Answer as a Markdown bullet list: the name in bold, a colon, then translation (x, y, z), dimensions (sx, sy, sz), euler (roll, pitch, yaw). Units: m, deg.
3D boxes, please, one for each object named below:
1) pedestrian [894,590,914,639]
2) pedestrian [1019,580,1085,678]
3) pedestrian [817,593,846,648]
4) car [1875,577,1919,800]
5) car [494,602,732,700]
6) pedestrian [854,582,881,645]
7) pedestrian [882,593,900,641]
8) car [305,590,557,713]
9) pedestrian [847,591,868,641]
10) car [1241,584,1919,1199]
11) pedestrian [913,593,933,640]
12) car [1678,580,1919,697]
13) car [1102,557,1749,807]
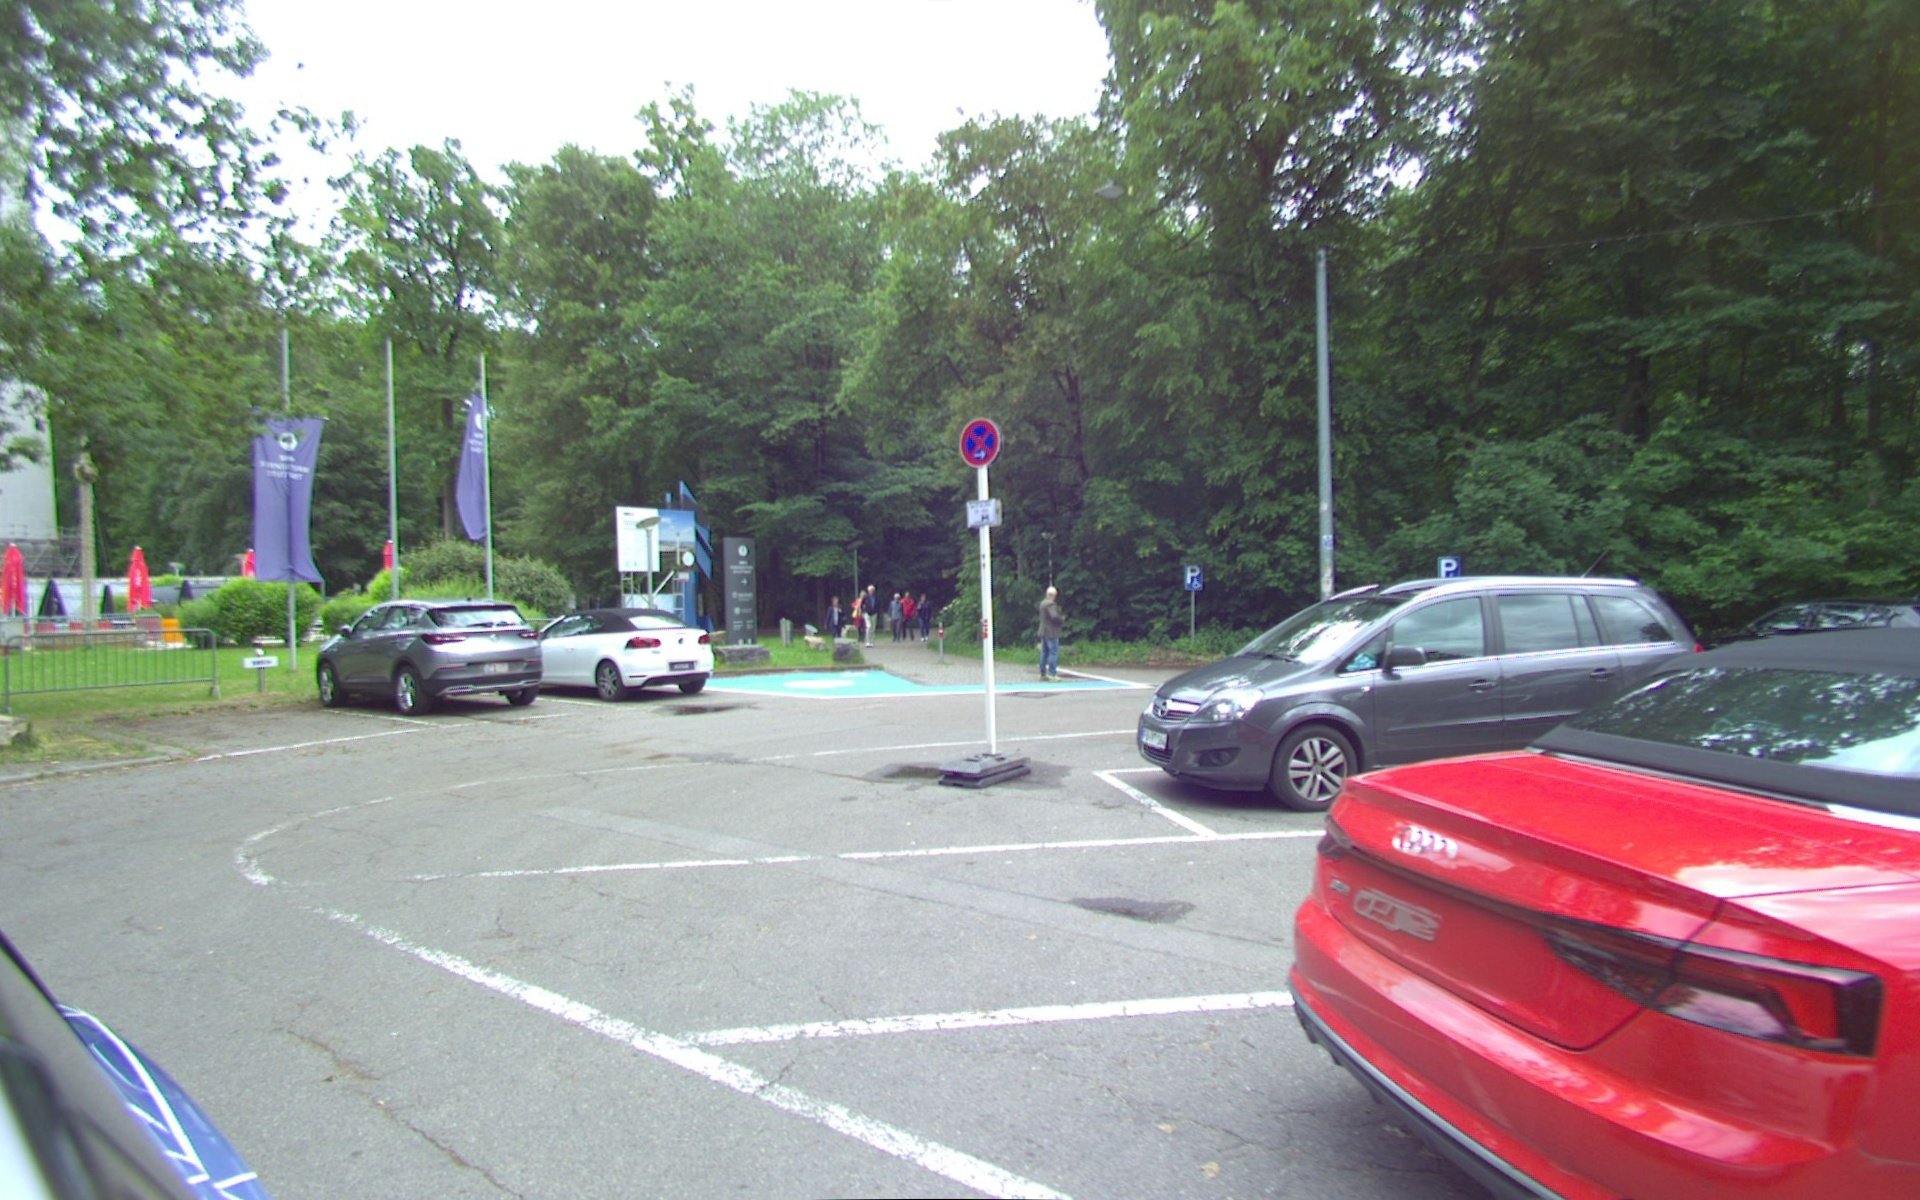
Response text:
- **pedestrian**: translation (-2.083, 0.534, 37.512), dimensions (0.671, 1.781, 0.714), euler (-1, 0, -4)
- **pedestrian**: translation (1.673, 0.511, 18.427), dimensions (0.881, 1.738, 0.767), euler (-1, -1, -29)
- **pedestrian**: translation (-3.893, 0.625, 30.753), dimensions (0.768, 1.646, 0.637), euler (-1, 0, 2)
- **car**: translation (8.443, 0.539, 6.352), dimensions (4.209, 1.454, 1.764), euler (-1, 0, -10)
- **car**: translation (-5.842, 0.778, 16.855), dimensions (3.994, 1.439, 1.875), euler (-1, 0, 38)
- **pedestrian**: translation (-2.880, 0.422, 31.497), dimensions (0.724, 1.930, 0.668), euler (-1, 0, 2)
- **pedestrian**: translation (-2.440, 0.592, 35.932), dimensions (0.600, 1.686, 0.606), euler (-1, 0, -4)
- **car**: translation (-7.999, 0.693, 15.193), dimensions (3.994, 1.597, 1.875), euler (-1, 0, 38)
- **pedestrian**: translation (-3.662, 0.572, 36.168), dimensions (0.673, 1.775, 0.606), euler (-1, 0, -4)
- **car**: translation (3.124, 0.648, 2.442), dimensions (4.322, 1.404, 1.772), euler (-1, 0, -8)
- **pedestrian**: translation (-1.363, 0.582, 36.813), dimensions (0.671, 1.686, 0.663), euler (-1, 0, -4)
- **car**: translation (12.848, 0.493, 14.405), dimensions (1.869, 1.473, 4.212), euler (-1, -1, -8)
- **car**: translation (3.498, 0.538, 7.989), dimensions (4.317, 1.621, 1.833), euler (-1, 0, -10)
